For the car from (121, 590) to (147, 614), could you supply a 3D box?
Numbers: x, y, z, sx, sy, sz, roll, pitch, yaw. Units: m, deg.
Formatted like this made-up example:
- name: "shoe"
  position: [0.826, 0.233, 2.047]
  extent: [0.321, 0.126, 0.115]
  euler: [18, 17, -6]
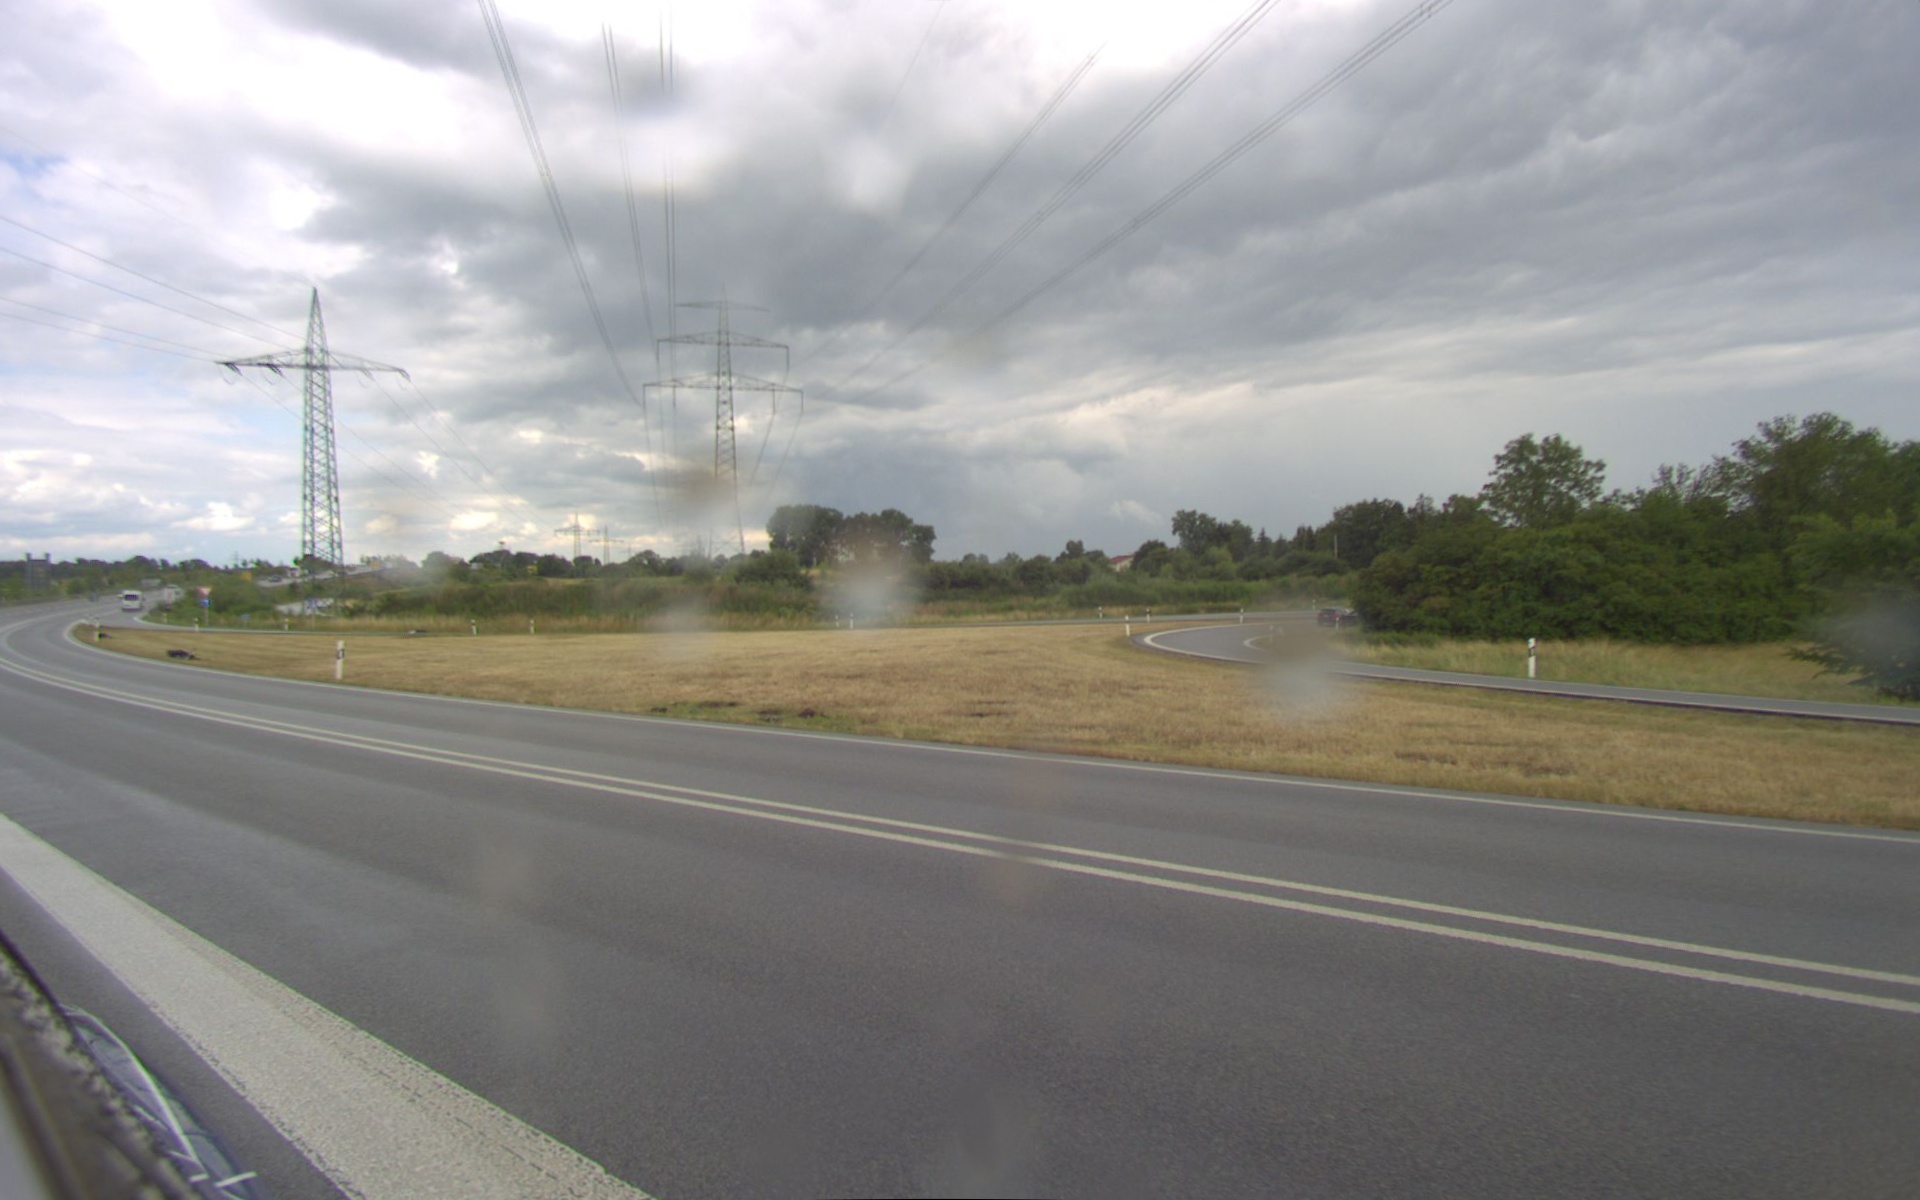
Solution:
- name: "car"
  position: [-106.855, 0.187, 130.969]
  extent: [2.178, 2.769, 6.037]
  euler: [-2, 4, -36]

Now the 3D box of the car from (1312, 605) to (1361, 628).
- name: "car"
  position: [29.625, 1.297, 79.526]
  extent: [3.855, 1.615, 1.991]
  euler: [-1, 2, -41]
